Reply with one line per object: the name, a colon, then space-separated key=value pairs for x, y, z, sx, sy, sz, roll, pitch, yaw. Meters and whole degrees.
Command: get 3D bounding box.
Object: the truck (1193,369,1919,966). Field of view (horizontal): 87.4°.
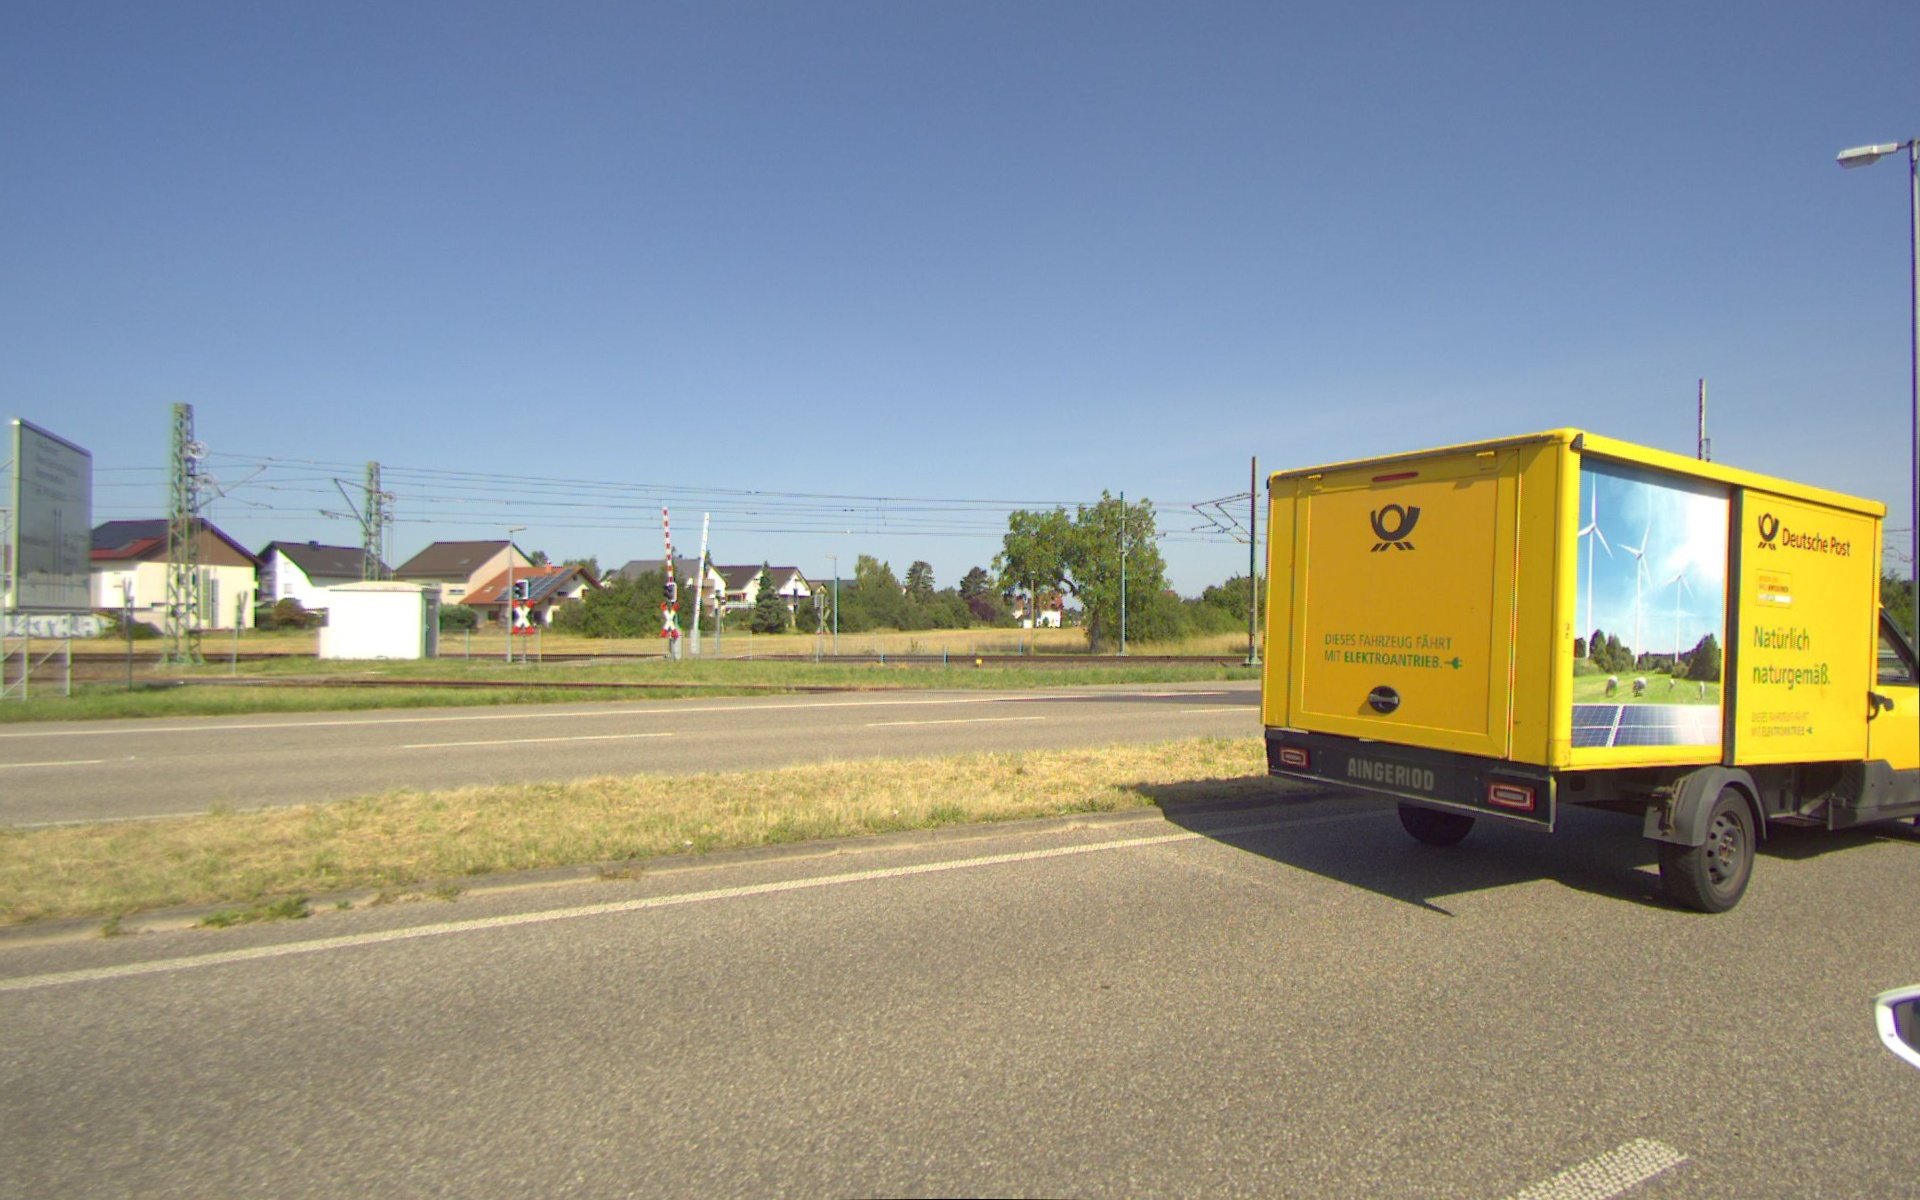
truck: x=4.461 y=0.333 z=6.573 sx=5.846 sy=2.490 sz=2.102 roll=1 pitch=0 yaw=-30
